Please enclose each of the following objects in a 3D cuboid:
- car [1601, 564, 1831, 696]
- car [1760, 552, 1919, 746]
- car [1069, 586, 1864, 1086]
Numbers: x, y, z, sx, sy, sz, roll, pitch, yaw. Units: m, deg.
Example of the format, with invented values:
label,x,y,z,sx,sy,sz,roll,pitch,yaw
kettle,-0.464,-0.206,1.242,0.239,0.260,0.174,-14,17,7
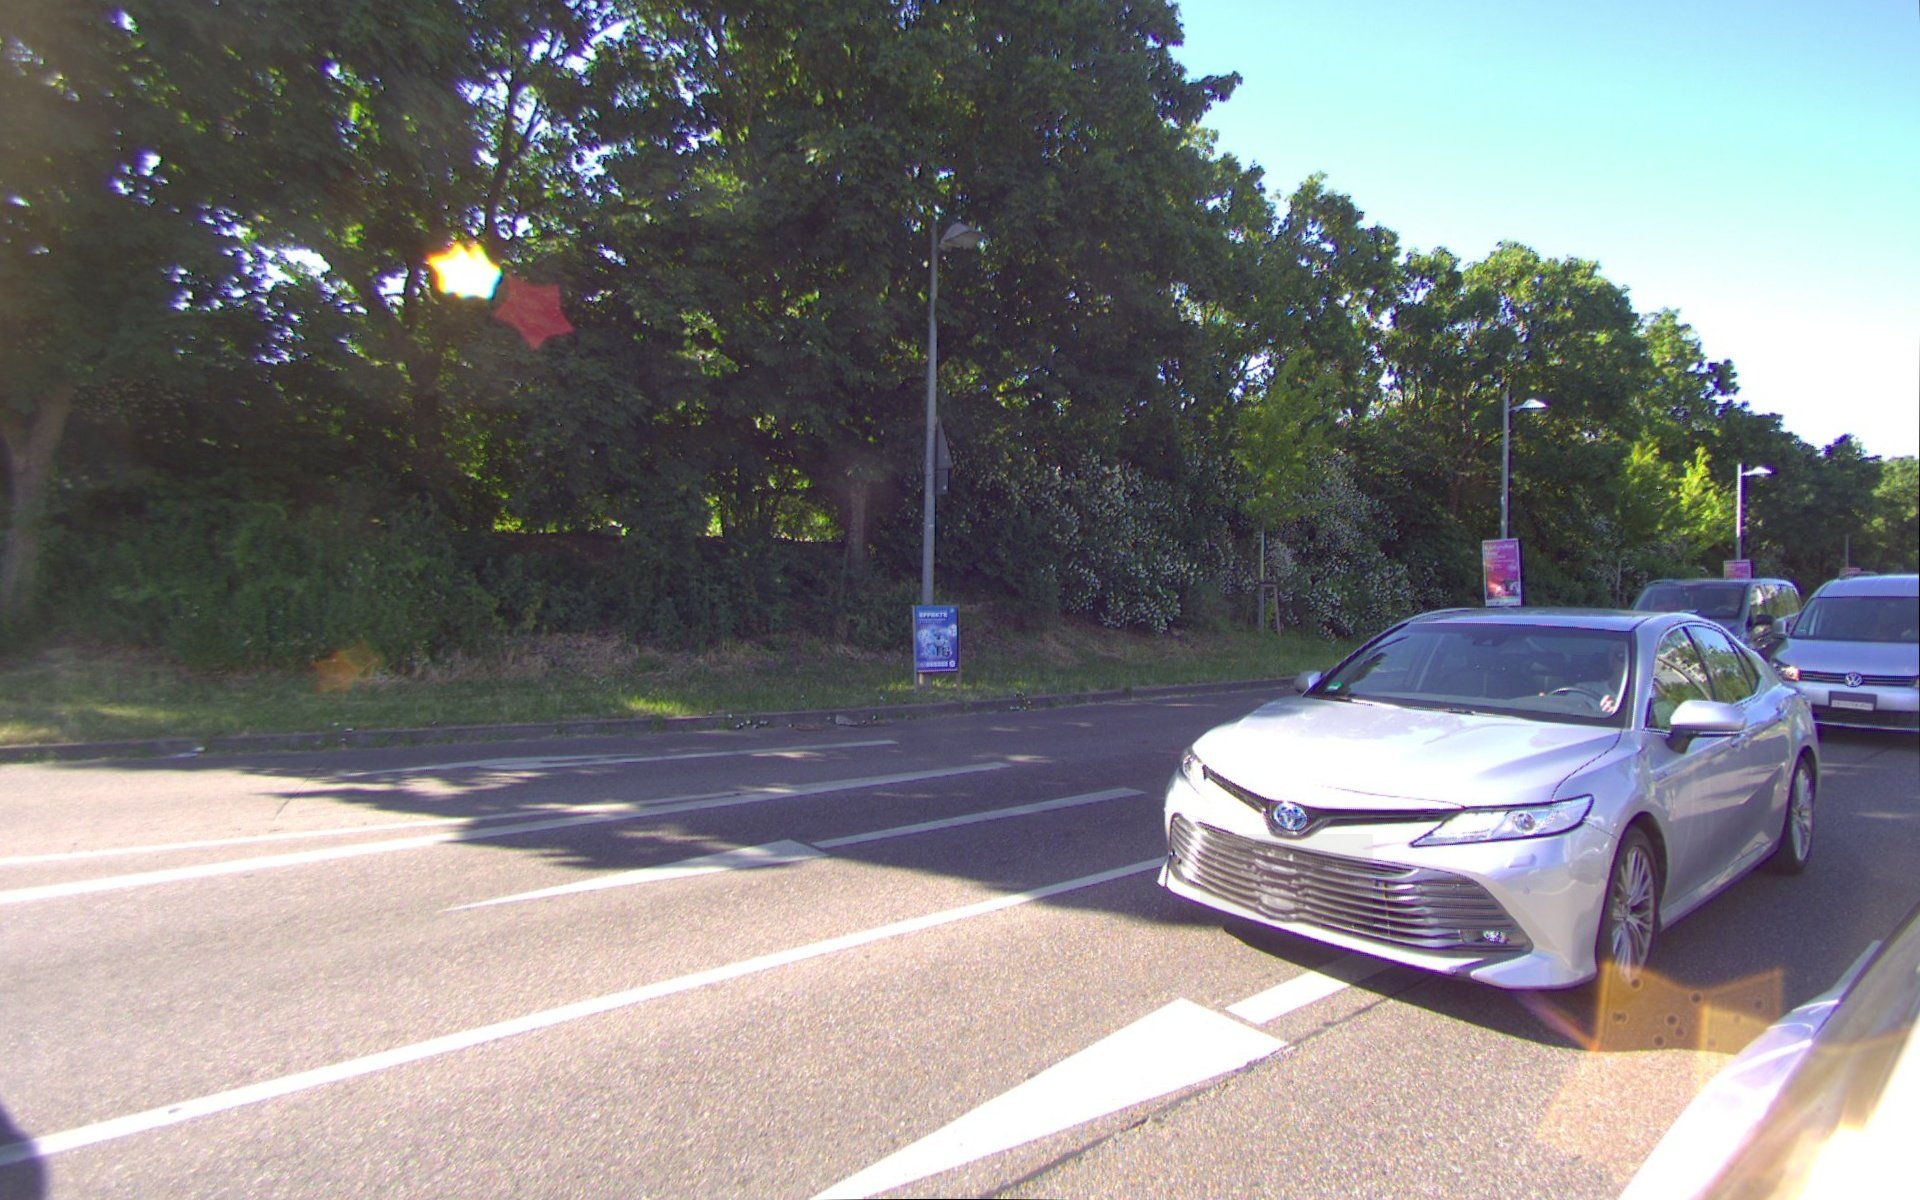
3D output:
label,x,y,z,sx,sy,sz,roll,pitch,yaw
car,12.862,0.396,17.086,5.056,1.917,1.998,0,1,-40
car,11.045,0.467,11.769,4.540,1.928,1.822,0,1,-40
car,2.953,0.696,5.358,4.664,1.477,2.069,0,2,-40
